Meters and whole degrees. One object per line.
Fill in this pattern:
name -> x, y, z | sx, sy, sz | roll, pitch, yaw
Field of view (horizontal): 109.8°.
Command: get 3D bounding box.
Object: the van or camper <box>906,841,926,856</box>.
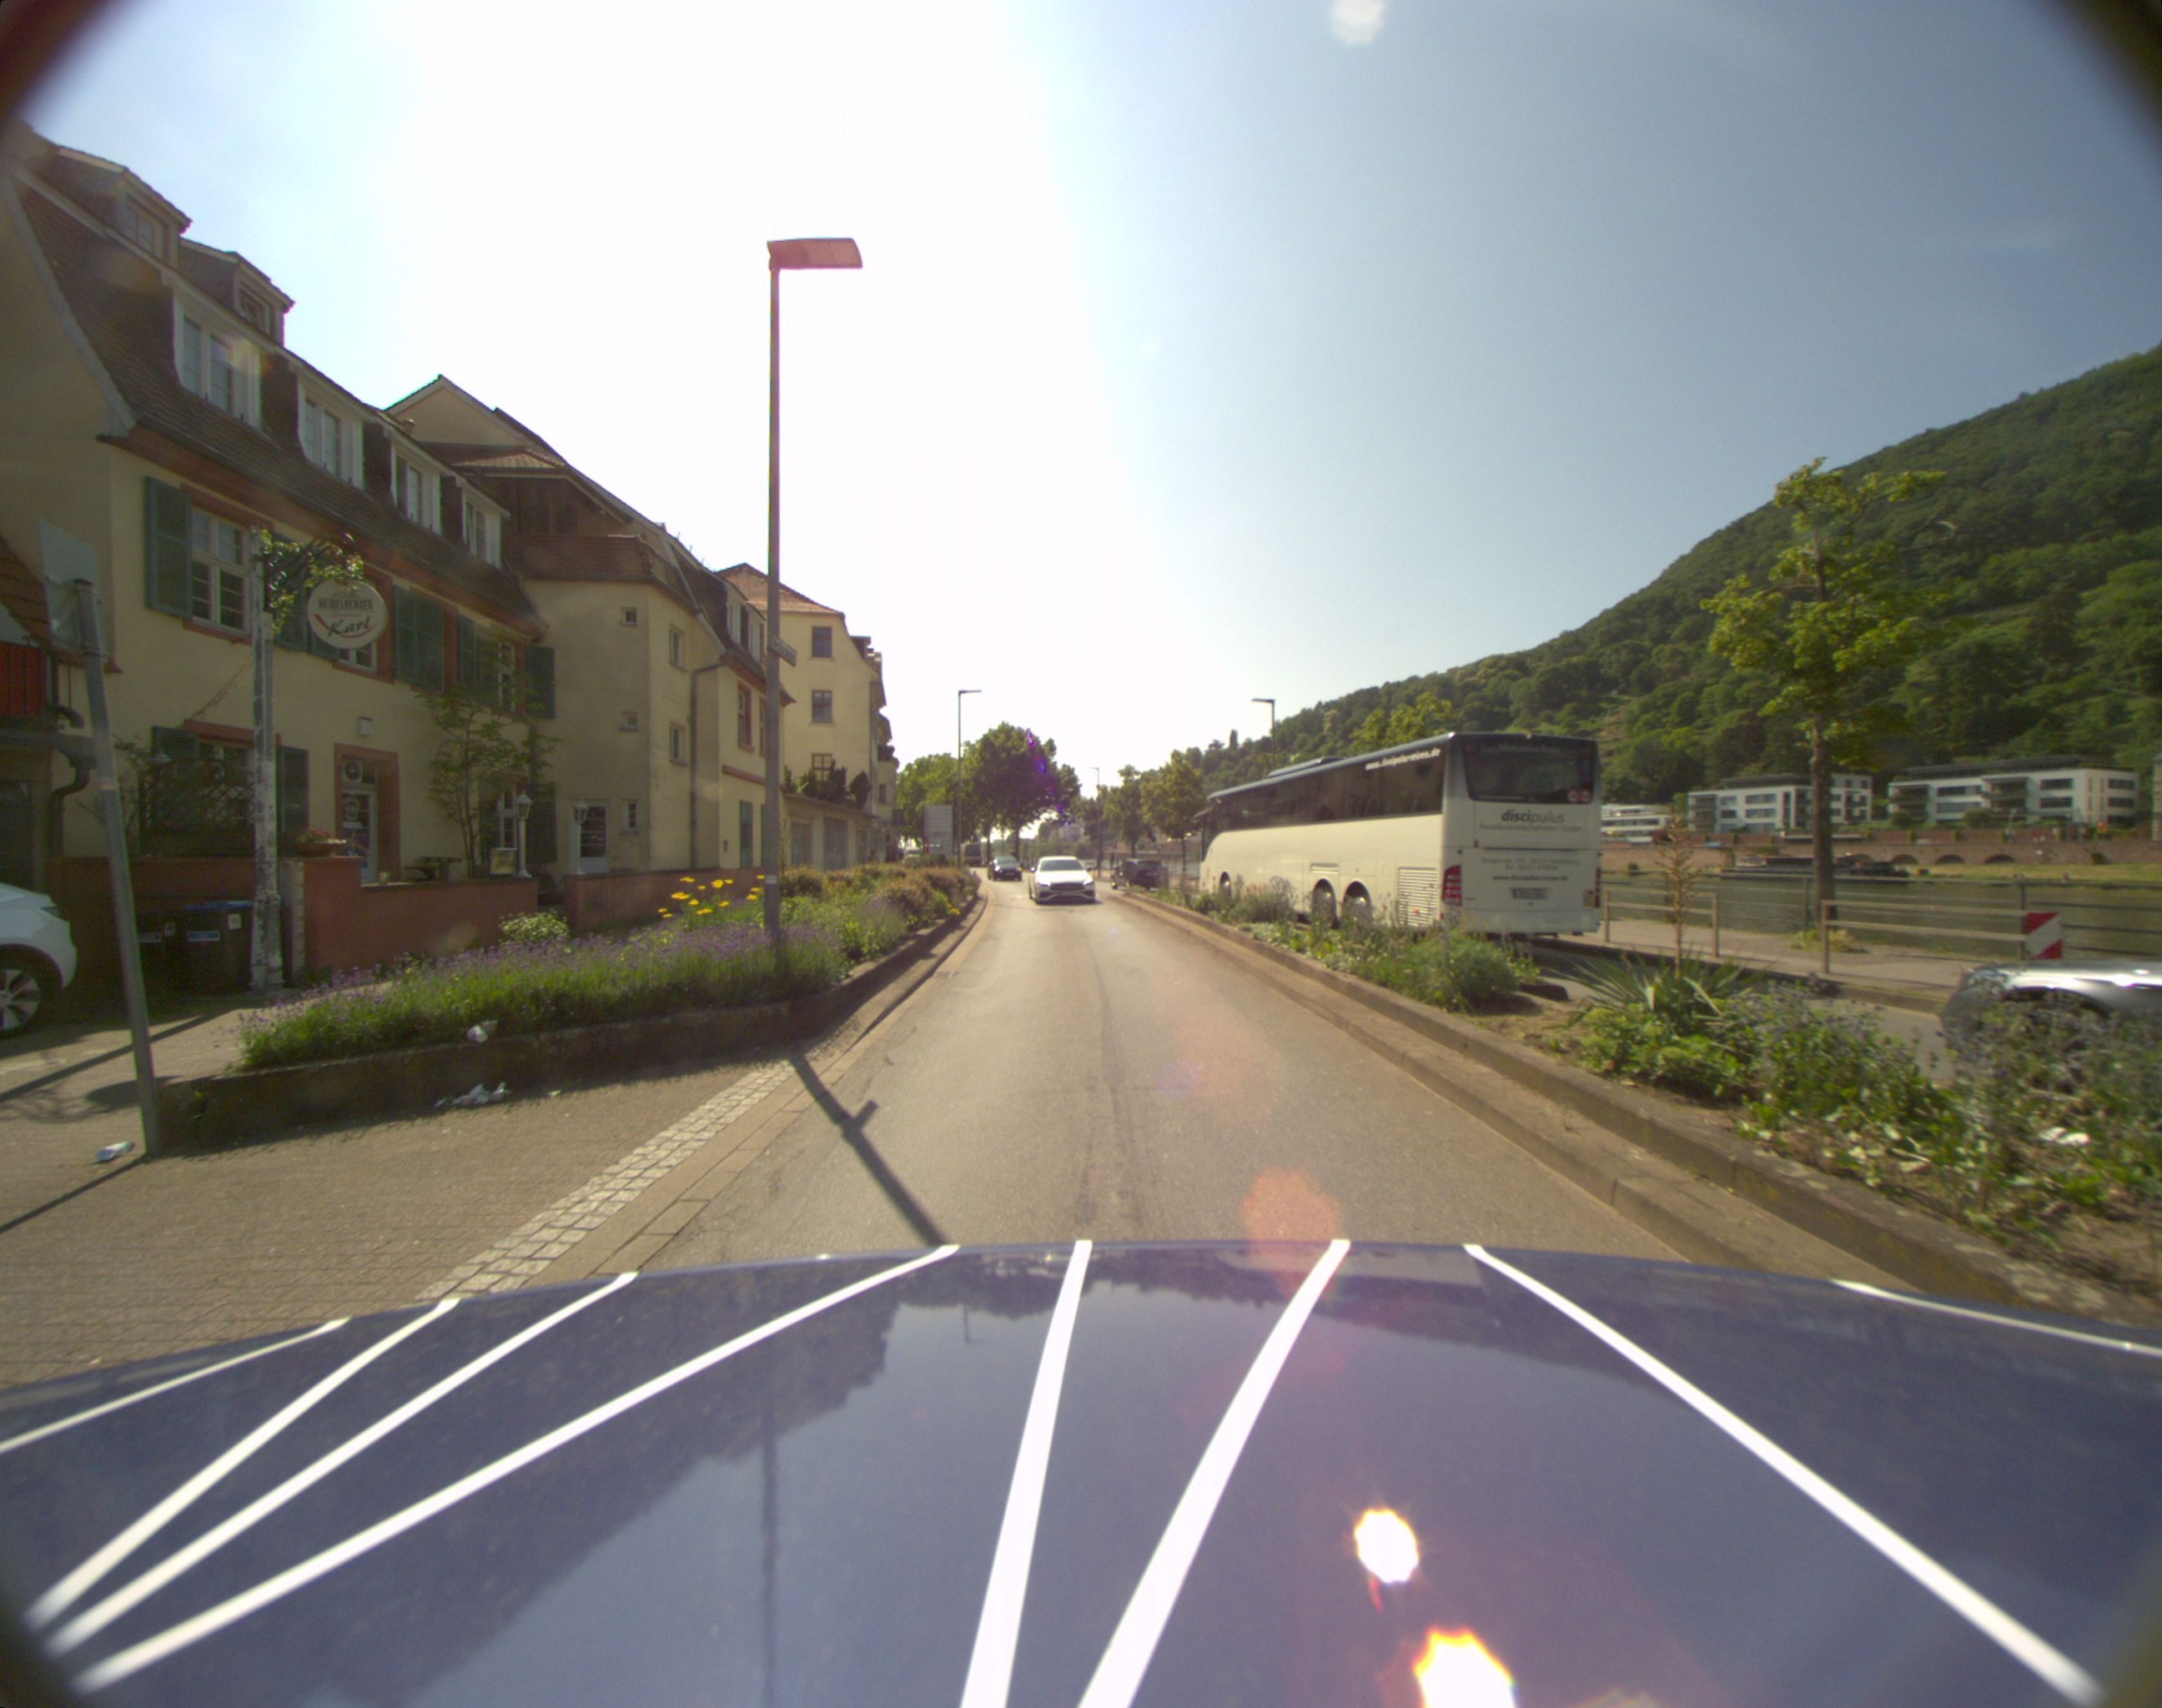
van or camper -> -25.695, -0.888, 118.016 | 2.441, 2.271, 6.193 | 0, 1, -18

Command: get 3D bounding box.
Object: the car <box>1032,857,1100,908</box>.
car -> -0.602, 0.831, 24.677 | 1.876, 1.416, 4.742 | -2, 0, -5

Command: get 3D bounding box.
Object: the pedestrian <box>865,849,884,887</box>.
pedestrian -> -9.493, 0.640, 35.025 | 0.740, 1.689, 0.932 | 1, 1, -10

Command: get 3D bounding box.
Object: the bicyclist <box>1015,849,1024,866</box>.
bicyclist -> -6.246, 0.364, 77.411 | 0.743, 1.658, 1.088 | 0, 0, -16

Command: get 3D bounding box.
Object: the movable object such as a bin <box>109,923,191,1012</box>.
movable object such as a bin -> -10.335, 1.251, 8.442 | 0.496, 0.938, 0.320 | 0, 1, -1

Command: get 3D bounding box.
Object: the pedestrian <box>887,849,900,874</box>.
pedestrian -> -12.809, 0.502, 51.987 | 0.764, 1.703, 0.695 | 3, 0, -14

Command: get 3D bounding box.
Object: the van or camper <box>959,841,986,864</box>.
van or camper -> -12.363, -0.215, 86.192 | 2.095, 2.542, 7.080 | -1, 1, -16

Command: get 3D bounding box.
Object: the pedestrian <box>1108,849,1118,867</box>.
pedestrian -> 2.864, 0.354, 67.865 | 0.696, 1.607, 0.663 | 0, 1, -10

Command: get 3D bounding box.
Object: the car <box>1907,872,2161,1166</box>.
car -> 7.146, 0.995, 2.909 | 2.000, 1.589, 5.153 | 3, 0, -6

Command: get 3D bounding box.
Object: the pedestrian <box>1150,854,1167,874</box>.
pedestrian -> 5.225, 0.662, 51.091 | 0.939, 1.273, 0.849 | 0, 1, -9

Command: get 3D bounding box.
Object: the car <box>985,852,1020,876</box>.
car -> -5.110, 0.619, 49.122 | 1.877, 1.416, 4.740 | -1, 0, -10

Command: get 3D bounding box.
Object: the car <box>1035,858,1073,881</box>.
car -> -1.878, 1.026, 51.422 | 1.820, 1.420, 4.306 | 2, -1, -12

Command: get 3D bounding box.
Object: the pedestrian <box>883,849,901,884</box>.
pedestrian -> -8.727, 0.558, 35.142 | 0.764, 1.586, 0.695 | 0, 1, -10

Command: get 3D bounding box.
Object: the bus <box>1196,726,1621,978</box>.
bus -> 5.683, -0.145, 17.293 | 2.639, 3.544, 12.971 | 0, 1, -7

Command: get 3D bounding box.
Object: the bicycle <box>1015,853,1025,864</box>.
bicycle -> -6.252, 0.450, 77.556 | 0.714, 1.162, 1.893 | -1, 0, -15

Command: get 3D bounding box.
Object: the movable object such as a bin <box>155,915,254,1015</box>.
movable object such as a bin -> -9.740, 1.227, 8.453 | 0.642, 1.061, 0.364 | 0, 1, -1

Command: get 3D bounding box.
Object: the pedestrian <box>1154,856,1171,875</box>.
pedestrian -> 5.365, 0.749, 50.191 | 0.939, 1.273, 0.849 | 0, 1, -9

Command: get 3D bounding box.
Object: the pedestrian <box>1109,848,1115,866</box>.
pedestrian -> 2.786, 0.246, 68.279 | 0.416, 1.588, 0.450 | 0, 1, -10

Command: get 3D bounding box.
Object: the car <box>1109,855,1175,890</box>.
car -> 2.581, 0.775, 33.313 | 1.823, 1.421, 4.188 | 1, 0, -11

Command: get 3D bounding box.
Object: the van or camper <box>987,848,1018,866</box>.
van or camper -> -7.170, 0.264, 68.899 | 2.001, 1.446, 4.675 | 2, 0, -15

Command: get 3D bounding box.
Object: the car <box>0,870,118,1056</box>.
car -> -9.925, 0.965, 4.922 | 1.884, 1.568, 4.722 | 0, 1, -11
